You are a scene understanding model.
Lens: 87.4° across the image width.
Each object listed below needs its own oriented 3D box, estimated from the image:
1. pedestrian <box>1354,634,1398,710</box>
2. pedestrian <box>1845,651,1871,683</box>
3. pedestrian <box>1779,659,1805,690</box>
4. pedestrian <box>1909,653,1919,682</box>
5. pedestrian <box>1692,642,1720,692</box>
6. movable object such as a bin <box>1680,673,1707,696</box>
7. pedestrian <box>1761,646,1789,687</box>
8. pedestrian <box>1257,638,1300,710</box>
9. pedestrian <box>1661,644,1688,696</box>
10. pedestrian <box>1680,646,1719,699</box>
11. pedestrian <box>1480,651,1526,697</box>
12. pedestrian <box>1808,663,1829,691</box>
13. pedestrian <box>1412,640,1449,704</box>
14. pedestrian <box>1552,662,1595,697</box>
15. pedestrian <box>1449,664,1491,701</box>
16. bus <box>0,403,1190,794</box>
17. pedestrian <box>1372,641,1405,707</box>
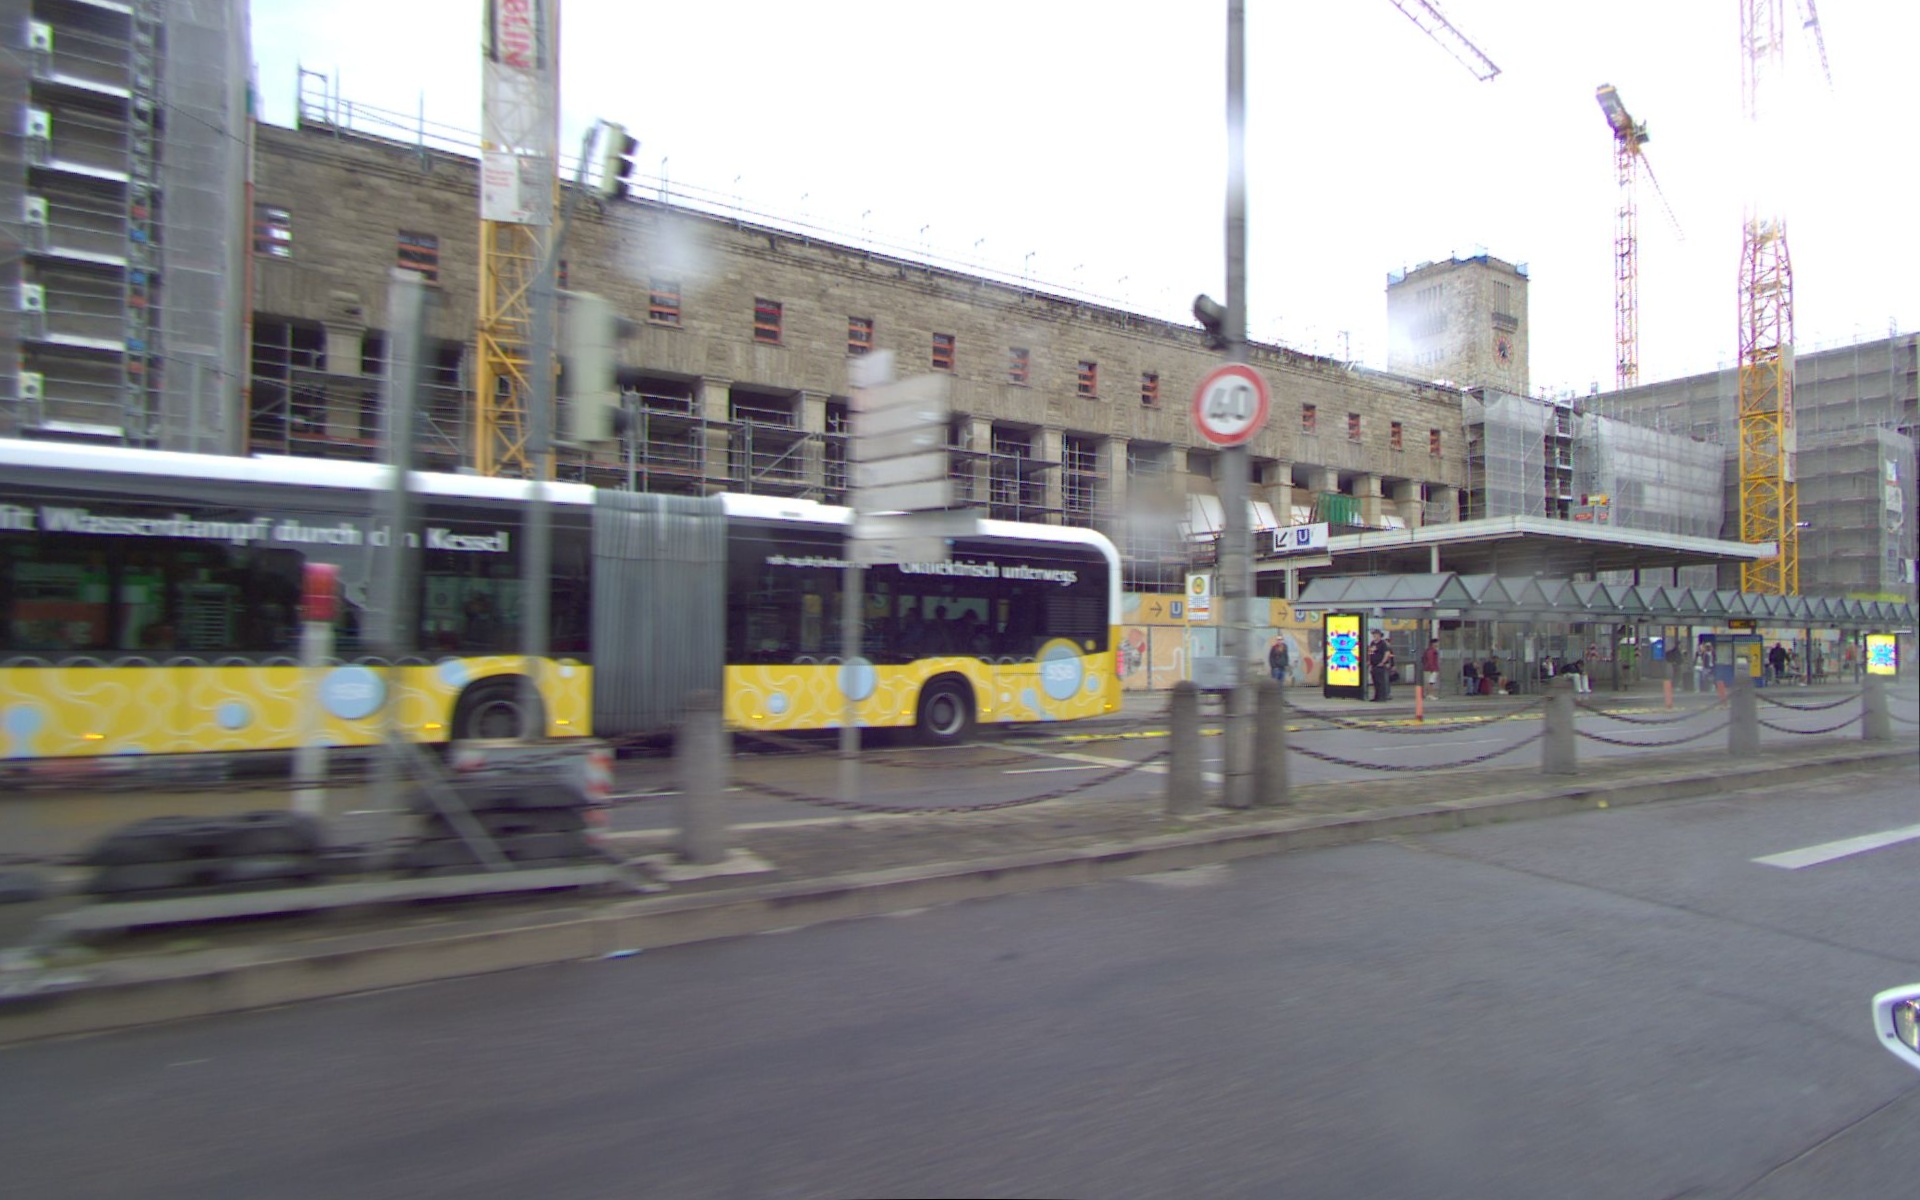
[{"bbox_3d":[11.249,1.932,27.142,0.814,1.984,0.754,2,-2,-34],"label":"pedestrian"},{"bbox_3d":[53.841,4.029,60.241,1.033,1.865,0.852,2,0,-32],"label":"pedestrian"},{"bbox_3d":[37.015,3.324,44.691,0.797,1.343,0.695,2,-2,-33],"label":"pedestrian"},{"bbox_3d":[62.763,4.403,65.780,0.604,1.865,0.718,2,-1,-28],"label":"pedestrian"},{"bbox_3d":[27.601,2.456,37.188,0.769,1.814,0.671,0,-1,31],"label":"pedestrian"},{"bbox_3d":[26.625,3.059,36.464,0.621,0.800,0.512,0,-3,13],"label":"movable object such as a bin"},{"bbox_3d":[38.581,3.138,47.559,0.689,1.865,0.745,1,-1,-12],"label":"pedestrian"},{"bbox_3d":[8.218,1.890,25.957,0.782,1.814,0.698,2,-1,-20],"label":"pedestrian"},{"bbox_3d":[25.984,2.542,36.534,0.664,1.872,0.558,1,-2,14],"label":"pedestrian"},{"bbox_3d":[25.714,2.514,34.917,0.849,1.814,0.773,2,-1,-25],"label":"pedestrian"},{"bbox_3d":[17.732,2.402,32.792,0.822,1.451,1.049,2,-2,-33],"label":"pedestrian"},{"bbox_3d":[49.049,4.391,57.389,0.695,1.568,0.797,2,-2,-37],"label":"pedestrian"},{"bbox_3d":[13.579,2.061,28.980,0.741,1.814,0.718,2,-2,-37],"label":"pedestrian"},{"bbox_3d":[21.642,2.798,35.438,1.043,1.173,0.944,2,-2,-31],"label":"pedestrian"},{"bbox_3d":[16.081,2.583,31.657,0.916,1.107,0.839,2,-2,-33],"label":"pedestrian"},{"bbox_3d":[-5.185,0.214,13.032,18.844,3.624,2.898,2,-3,-29],"label":"bus"},{"bbox_3d":[12.086,2.081,28.341,0.799,1.814,0.551,2,-2,-40],"label":"pedestrian"}]
